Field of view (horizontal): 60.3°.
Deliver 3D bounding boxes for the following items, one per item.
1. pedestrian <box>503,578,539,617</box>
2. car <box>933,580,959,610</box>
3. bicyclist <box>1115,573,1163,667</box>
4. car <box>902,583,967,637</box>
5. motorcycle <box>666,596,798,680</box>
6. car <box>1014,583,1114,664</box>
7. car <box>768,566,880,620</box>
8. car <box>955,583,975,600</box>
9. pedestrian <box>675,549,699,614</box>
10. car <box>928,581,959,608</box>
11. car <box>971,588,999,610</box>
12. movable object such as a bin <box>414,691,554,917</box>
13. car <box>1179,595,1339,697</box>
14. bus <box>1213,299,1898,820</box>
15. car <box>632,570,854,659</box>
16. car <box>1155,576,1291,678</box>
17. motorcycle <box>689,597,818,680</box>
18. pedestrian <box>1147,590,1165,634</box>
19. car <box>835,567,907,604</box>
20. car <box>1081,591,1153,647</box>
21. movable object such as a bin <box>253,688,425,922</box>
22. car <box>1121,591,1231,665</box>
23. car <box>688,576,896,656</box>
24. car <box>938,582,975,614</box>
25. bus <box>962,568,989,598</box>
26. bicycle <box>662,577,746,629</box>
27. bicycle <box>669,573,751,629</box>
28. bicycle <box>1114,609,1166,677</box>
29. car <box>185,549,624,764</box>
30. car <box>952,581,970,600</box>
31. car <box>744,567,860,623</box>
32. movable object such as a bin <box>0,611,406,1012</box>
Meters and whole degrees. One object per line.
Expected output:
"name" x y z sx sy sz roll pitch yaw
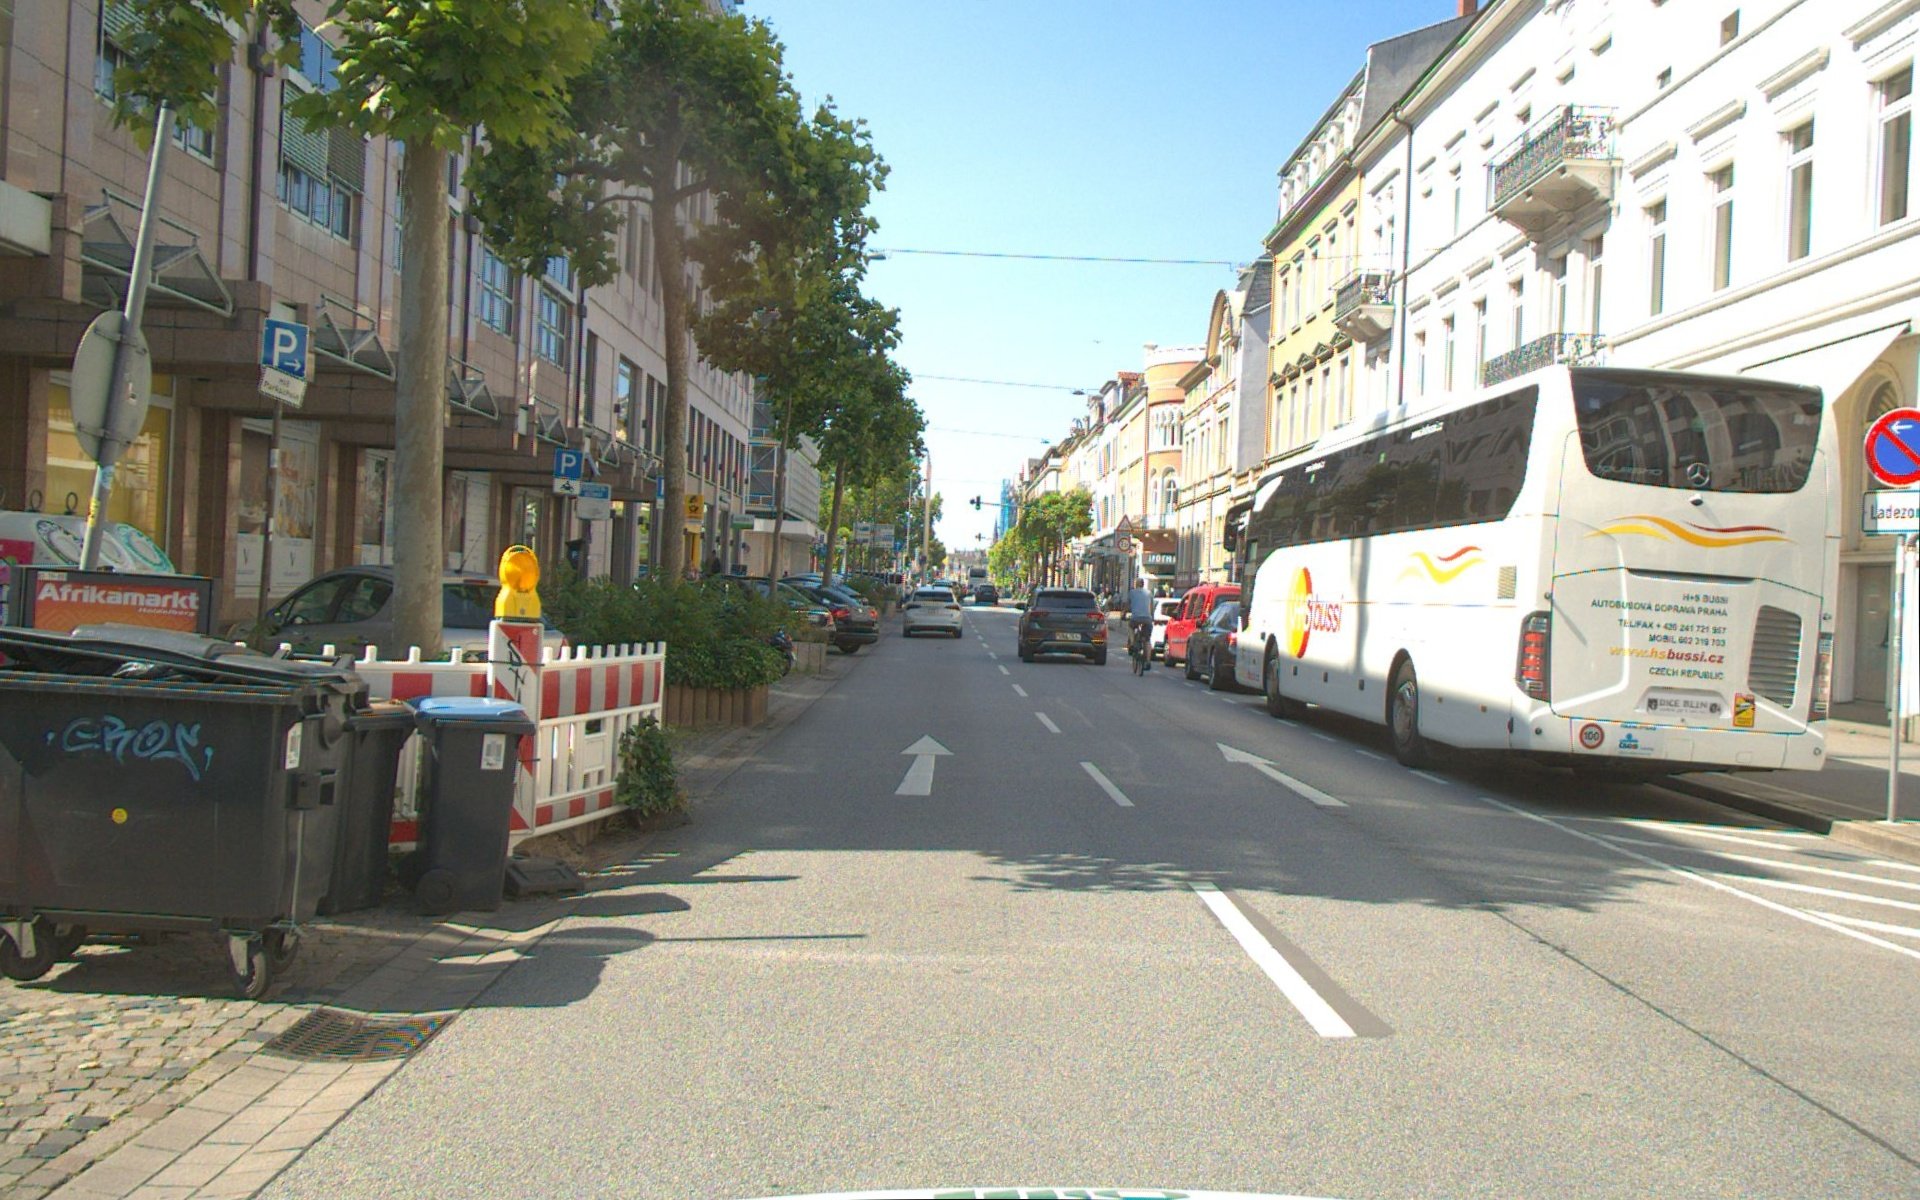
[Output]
"pedestrian" -10.247 -0.064 38.605 0.554 0.822 0.774 7 0 -1
"car" -1.047 -0.330 122.175 1.825 2.065 3.998 2 -1 -1
"bicyclist" 3.373 0.366 31.195 0.680 1.702 0.916 4 1 0
"car" -0.804 0.265 49.351 1.825 1.466 3.999 1 1 -2
"motorcycle" -3.560 0.578 25.806 1.871 1.190 0.728 3 1 20
"car" 2.165 0.459 35.336 1.796 1.554 3.999 3 0 -1
"car" -5.349 -0.272 65.052 3.911 1.594 1.699 7 1 25
"car" 0.483 -0.773 158.545 1.825 1.466 3.998 1 -1 -1
"pedestrian" -7.229 -0.488 43.832 0.555 1.686 0.636 2 0 -7
"car" -0.968 -0.342 94.375 1.708 1.466 3.999 2 1 -1
"car" 1.826 -0.072 121.263 1.825 1.466 3.999 2 1 -1
"movable object such as a bin" -2.218 0.924 7.686 0.547 0.955 0.496 0 1 -27
"car" 5.171 0.736 29.325 1.821 1.495 5.225 4 0 0
"bus" 5.551 -0.355 18.947 2.824 3.806 12.422 4 0 -2
"car" -4.566 0.277 34.349 4.674 1.560 1.978 4 1 42
"car" 5.463 0.503 34.867 1.791 1.895 4.351 4 1 -4
"motorcycle" -3.312 0.602 26.515 1.871 1.190 0.760 3 1 20
"pedestrian" 8.308 0.515 69.998 0.638 1.840 0.730 2 0 3
"car" -6.045 -0.985 112.236 4.639 2.037 1.932 6 0 40
"car" 4.745 0.549 50.358 1.785 1.433 3.186 5 1 -1
"movable object such as a bin" -2.781 0.898 7.431 0.488 0.955 0.556 1 1 16
"car" 5.194 0.639 40.322 1.777 1.491 4.578 4 1 -3
"car" -3.846 0.332 37.330 4.709 1.447 1.873 5 1 40
"car" -0.193 -0.115 82.889 1.708 1.466 3.999 2 1 -1
"bus" 1.939 -2.171 212.768 2.715 3.668 8.967 2 1 -4
"bicycle" -6.526 0.075 42.271 2.027 1.150 0.463 5 -1 -8
"bicycle" -6.597 0.019 43.712 2.027 1.310 0.367 5 -1 -8
"bicycle" 3.380 0.784 31.166 0.651 1.139 2.243 4 1 0
"car" -5.037 0.416 14.763 3.985 1.520 1.925 4 1 41
"car" 0.099 -0.994 174.963 1.825 1.882 3.998 1 -2 -1
"car" -5.569 -0.195 58.656 3.911 1.525 1.716 6 0 -5
"movable object such as a bin" -2.854 0.735 6.145 1.251 1.322 0.853 2 0 -1
